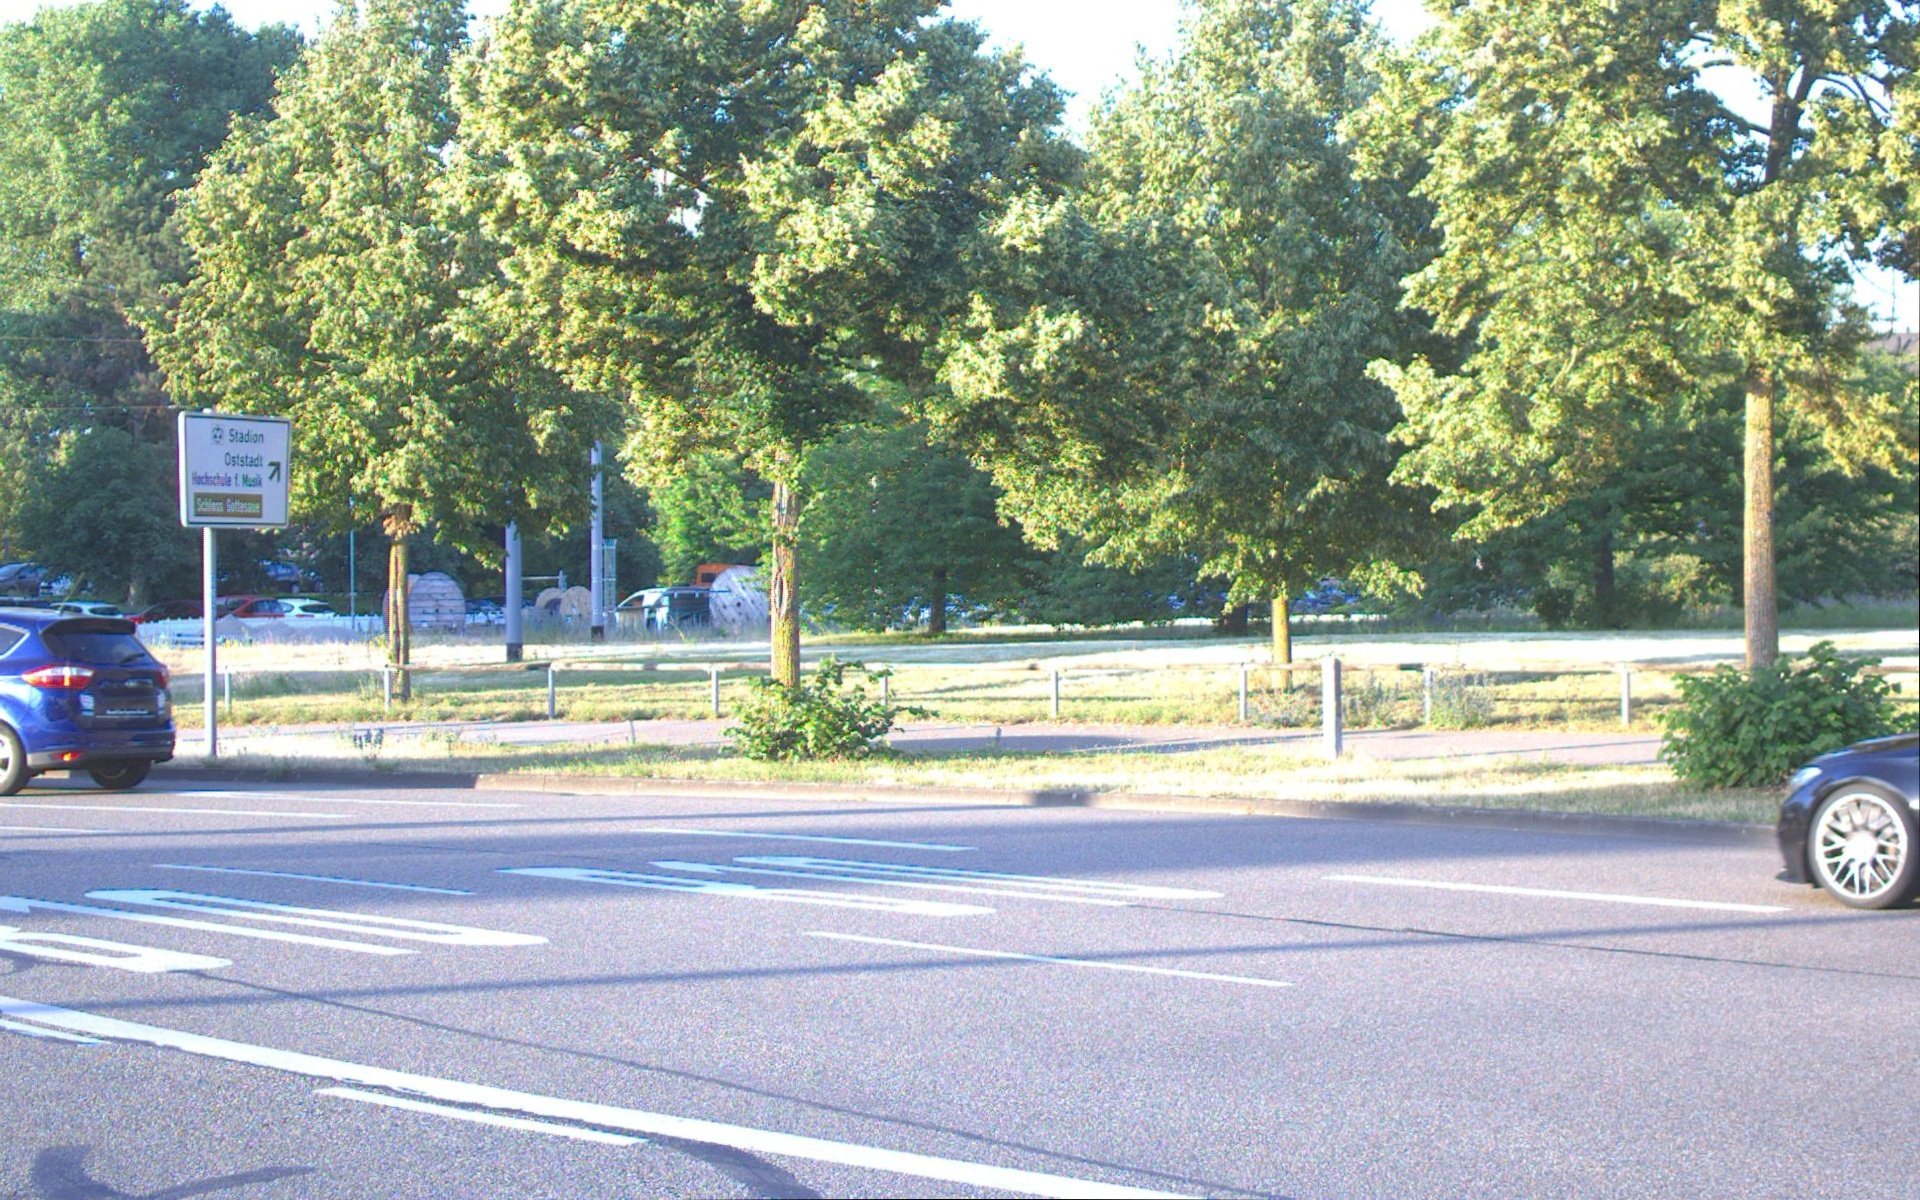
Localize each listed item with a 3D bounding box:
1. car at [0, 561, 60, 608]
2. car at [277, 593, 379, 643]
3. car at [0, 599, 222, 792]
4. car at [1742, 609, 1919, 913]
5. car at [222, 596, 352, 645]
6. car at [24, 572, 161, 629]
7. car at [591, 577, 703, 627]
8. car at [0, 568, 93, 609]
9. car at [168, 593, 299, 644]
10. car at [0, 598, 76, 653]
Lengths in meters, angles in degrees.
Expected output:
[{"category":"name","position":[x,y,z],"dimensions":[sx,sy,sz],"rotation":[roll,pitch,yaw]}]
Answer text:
[{"category":"car","position":[-41.154,-0.667,148.424],"dimensions":[1.998,2.007,3.990],"rotation":[0,1,42]},{"category":"car","position":[-23.605,0.648,128.370],"dimensions":[1.994,1.746,4.598],"rotation":[-1,2,-35]},{"category":"car","position":[-8.800,0.789,30.302],"dimensions":[4.172,1.578,1.913],"rotation":[0,1,25]},{"category":"car","position":[6.324,0.819,16.727],"dimensions":[1.994,1.500,4.619],"rotation":[1,-1,-41]},{"category":"car","position":[-22.488,0.667,114.860],"dimensions":[3.994,1.598,1.996],"rotation":[0,1,34]},{"category":"car","position":[-31.560,0.010,125.150],"dimensions":[4.582,2.007,2.000],"rotation":[-1,0,-7]},{"category":"car","position":[-10.372,0.070,113.623],"dimensions":[1.734,1.612,3.999],"rotation":[-1,1,-39]},{"category":"car","position":[-38.802,-0.471,144.818],"dimensions":[3.988,1.700,1.999],"rotation":[0,0,8]},{"category":"car","position":[-23.933,0.601,113.166],"dimensions":[3.994,1.598,1.996],"rotation":[0,1,34]},{"category":"car","position":[-28.985,0.769,104.371],"dimensions":[3.994,1.598,1.996],"rotation":[0,1,34]}]
